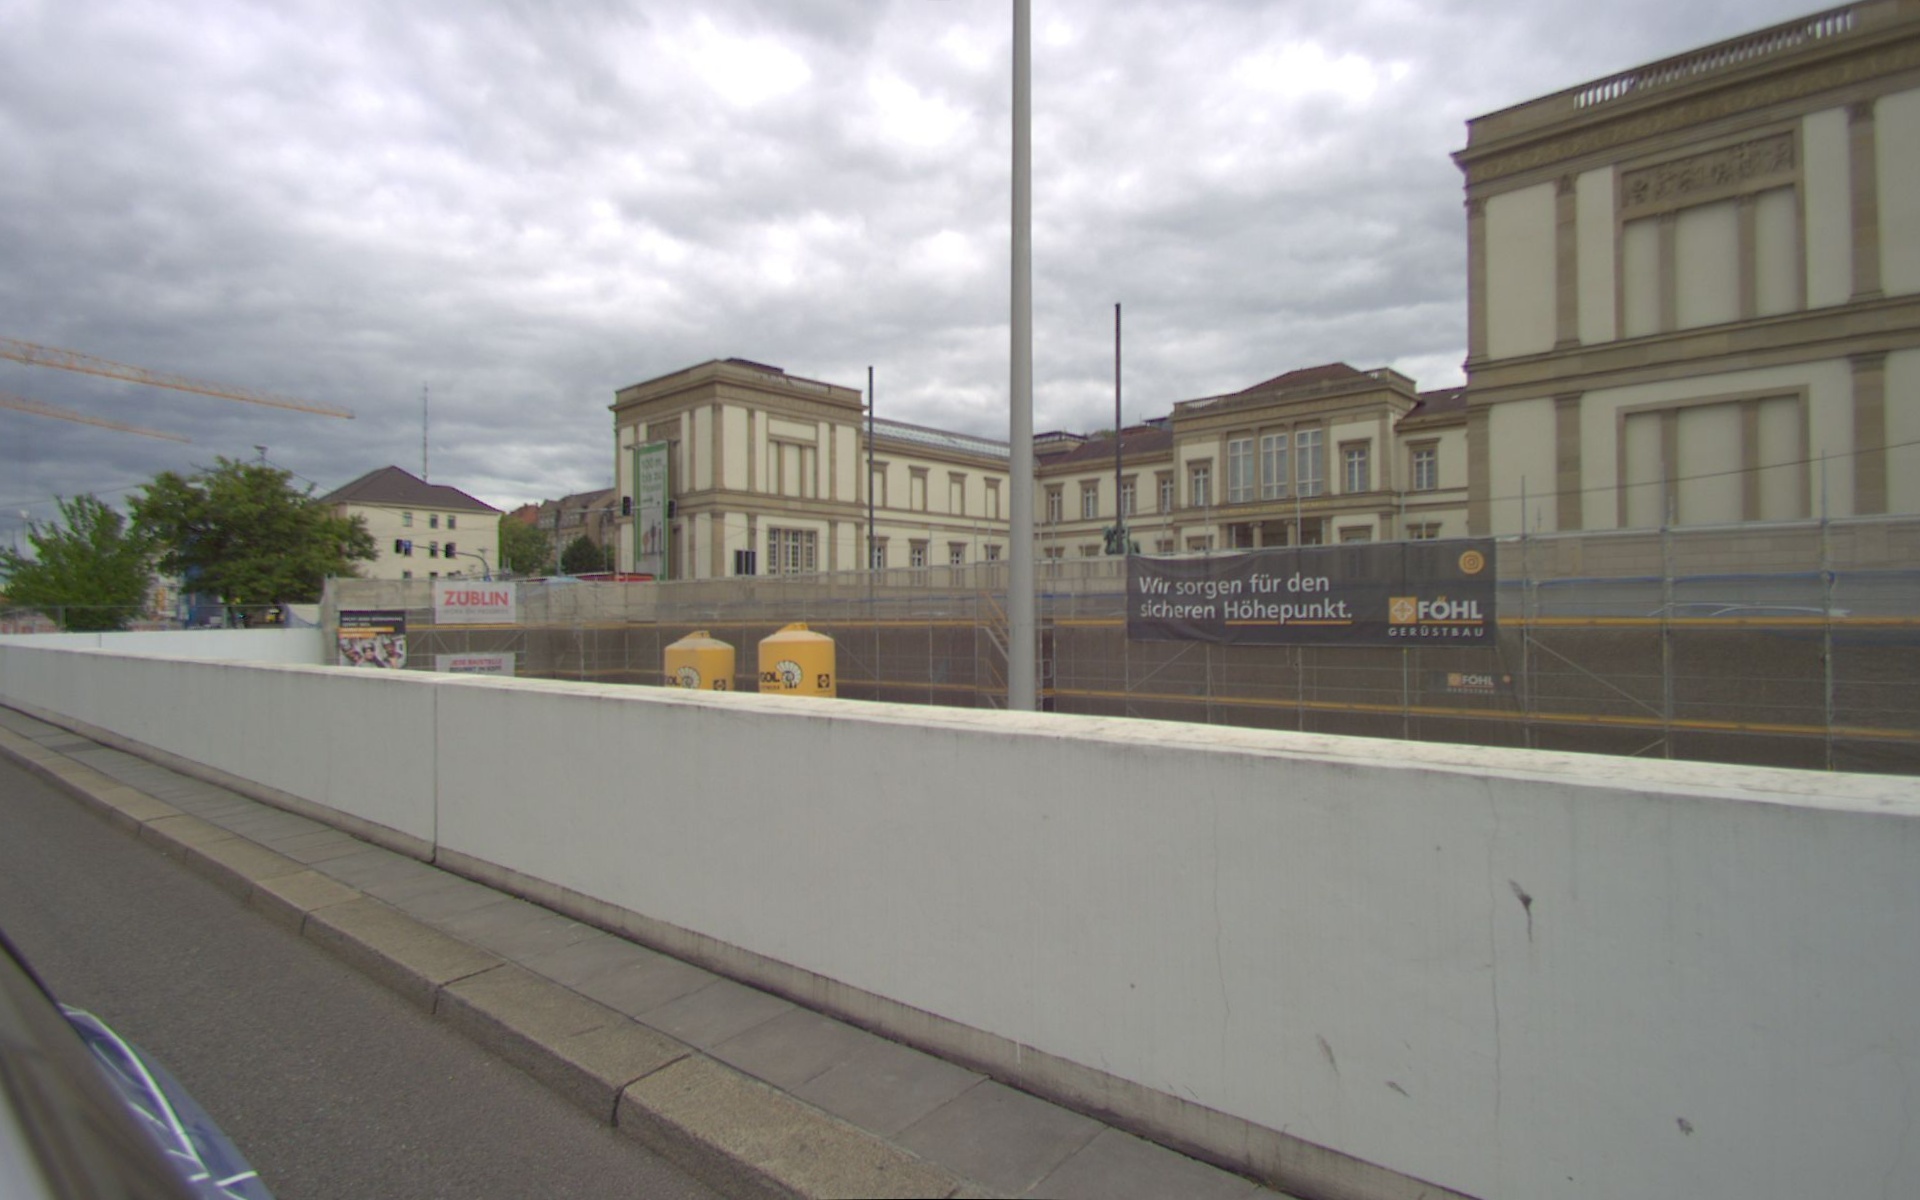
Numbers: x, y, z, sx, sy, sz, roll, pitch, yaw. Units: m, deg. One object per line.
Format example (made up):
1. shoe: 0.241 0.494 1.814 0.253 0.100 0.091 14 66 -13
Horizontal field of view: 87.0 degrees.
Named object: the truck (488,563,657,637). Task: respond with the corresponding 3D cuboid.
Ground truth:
1. truck: -24.811 0.243 63.805 16.612 4.114 2.885 -2 -3 43
